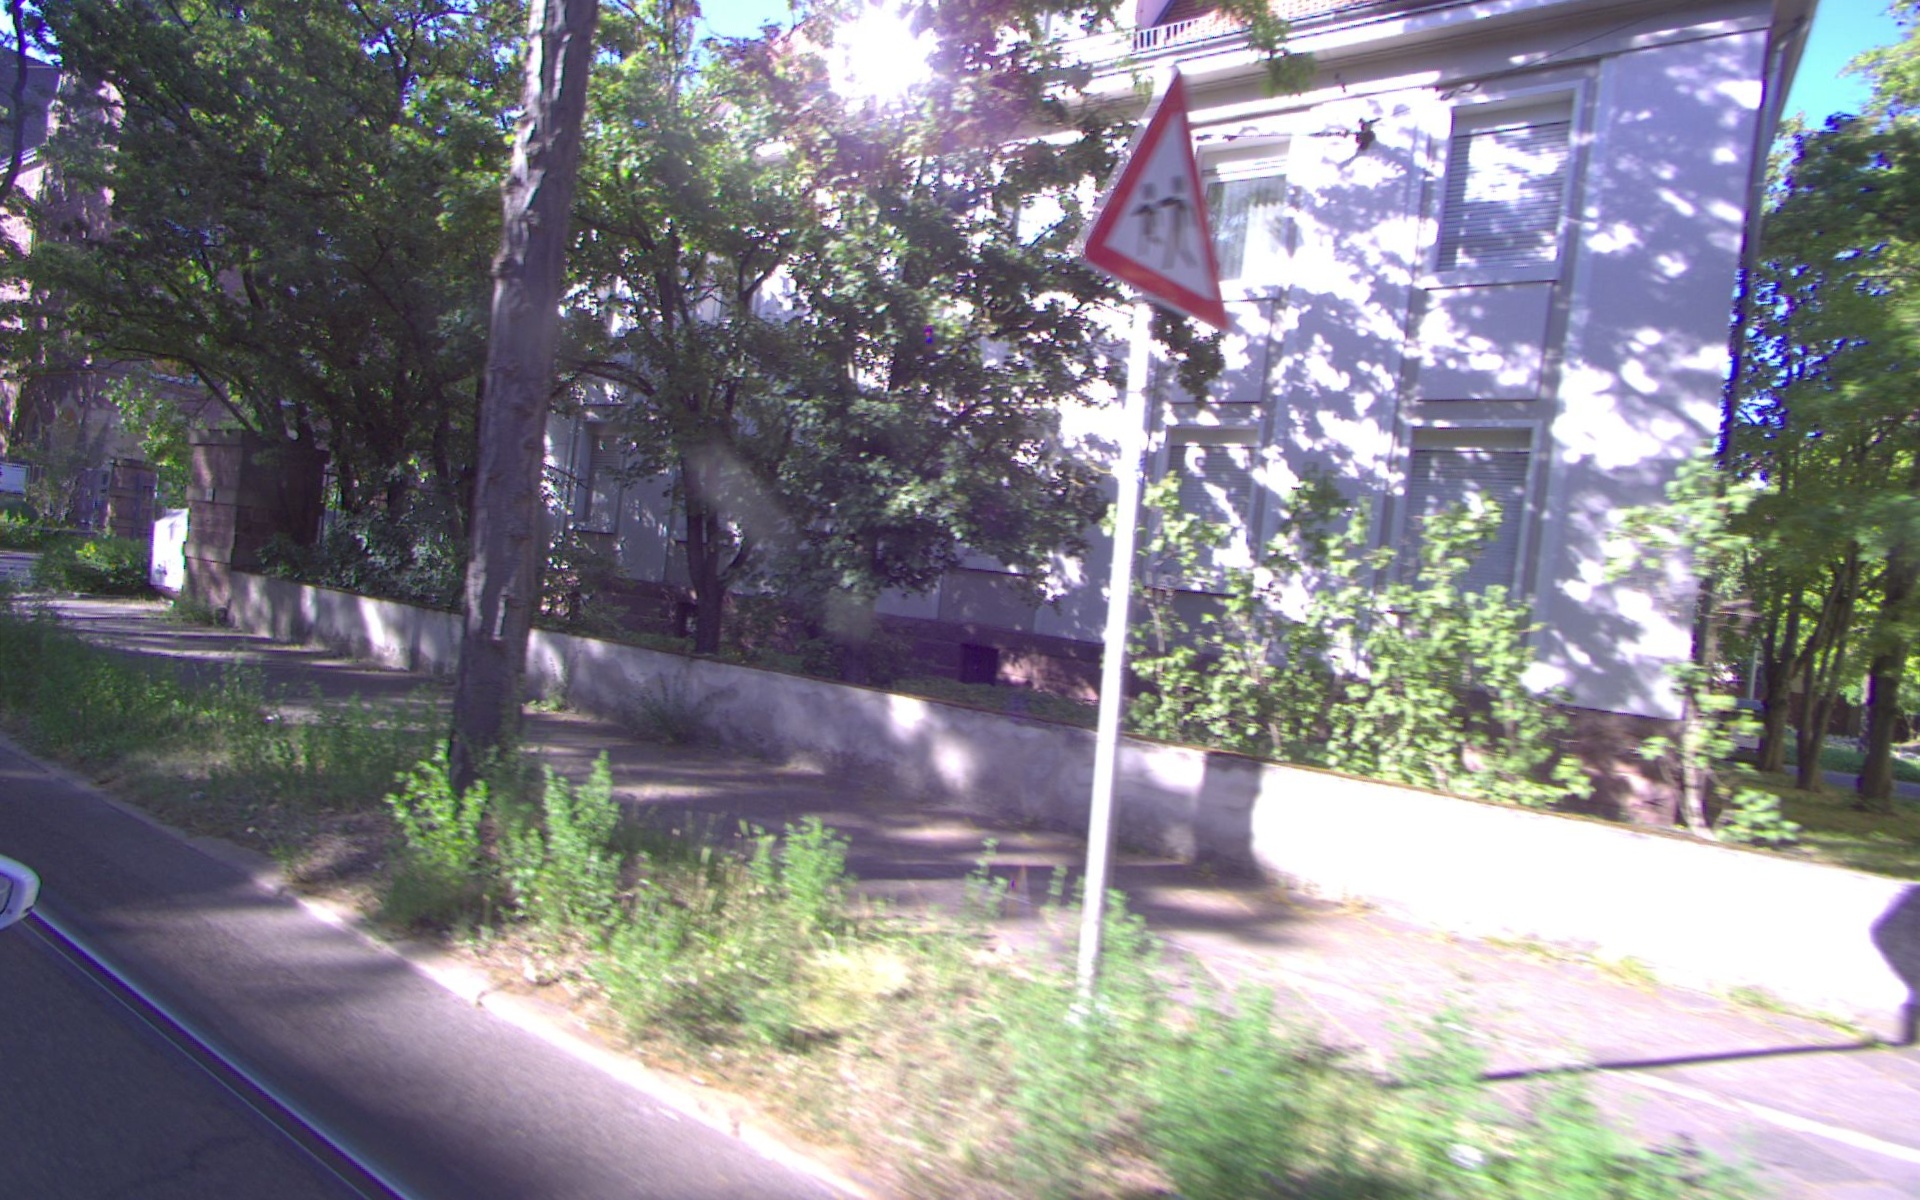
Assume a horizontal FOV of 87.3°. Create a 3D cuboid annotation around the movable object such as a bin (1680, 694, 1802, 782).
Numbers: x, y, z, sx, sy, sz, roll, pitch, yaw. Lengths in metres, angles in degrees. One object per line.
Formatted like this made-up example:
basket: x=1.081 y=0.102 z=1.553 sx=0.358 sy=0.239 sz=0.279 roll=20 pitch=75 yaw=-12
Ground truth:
movable object such as a bin: x=15.728 y=2.780 z=20.363 sx=1.461 sy=1.458 sz=2.232 roll=7 pitch=-3 yaw=29
